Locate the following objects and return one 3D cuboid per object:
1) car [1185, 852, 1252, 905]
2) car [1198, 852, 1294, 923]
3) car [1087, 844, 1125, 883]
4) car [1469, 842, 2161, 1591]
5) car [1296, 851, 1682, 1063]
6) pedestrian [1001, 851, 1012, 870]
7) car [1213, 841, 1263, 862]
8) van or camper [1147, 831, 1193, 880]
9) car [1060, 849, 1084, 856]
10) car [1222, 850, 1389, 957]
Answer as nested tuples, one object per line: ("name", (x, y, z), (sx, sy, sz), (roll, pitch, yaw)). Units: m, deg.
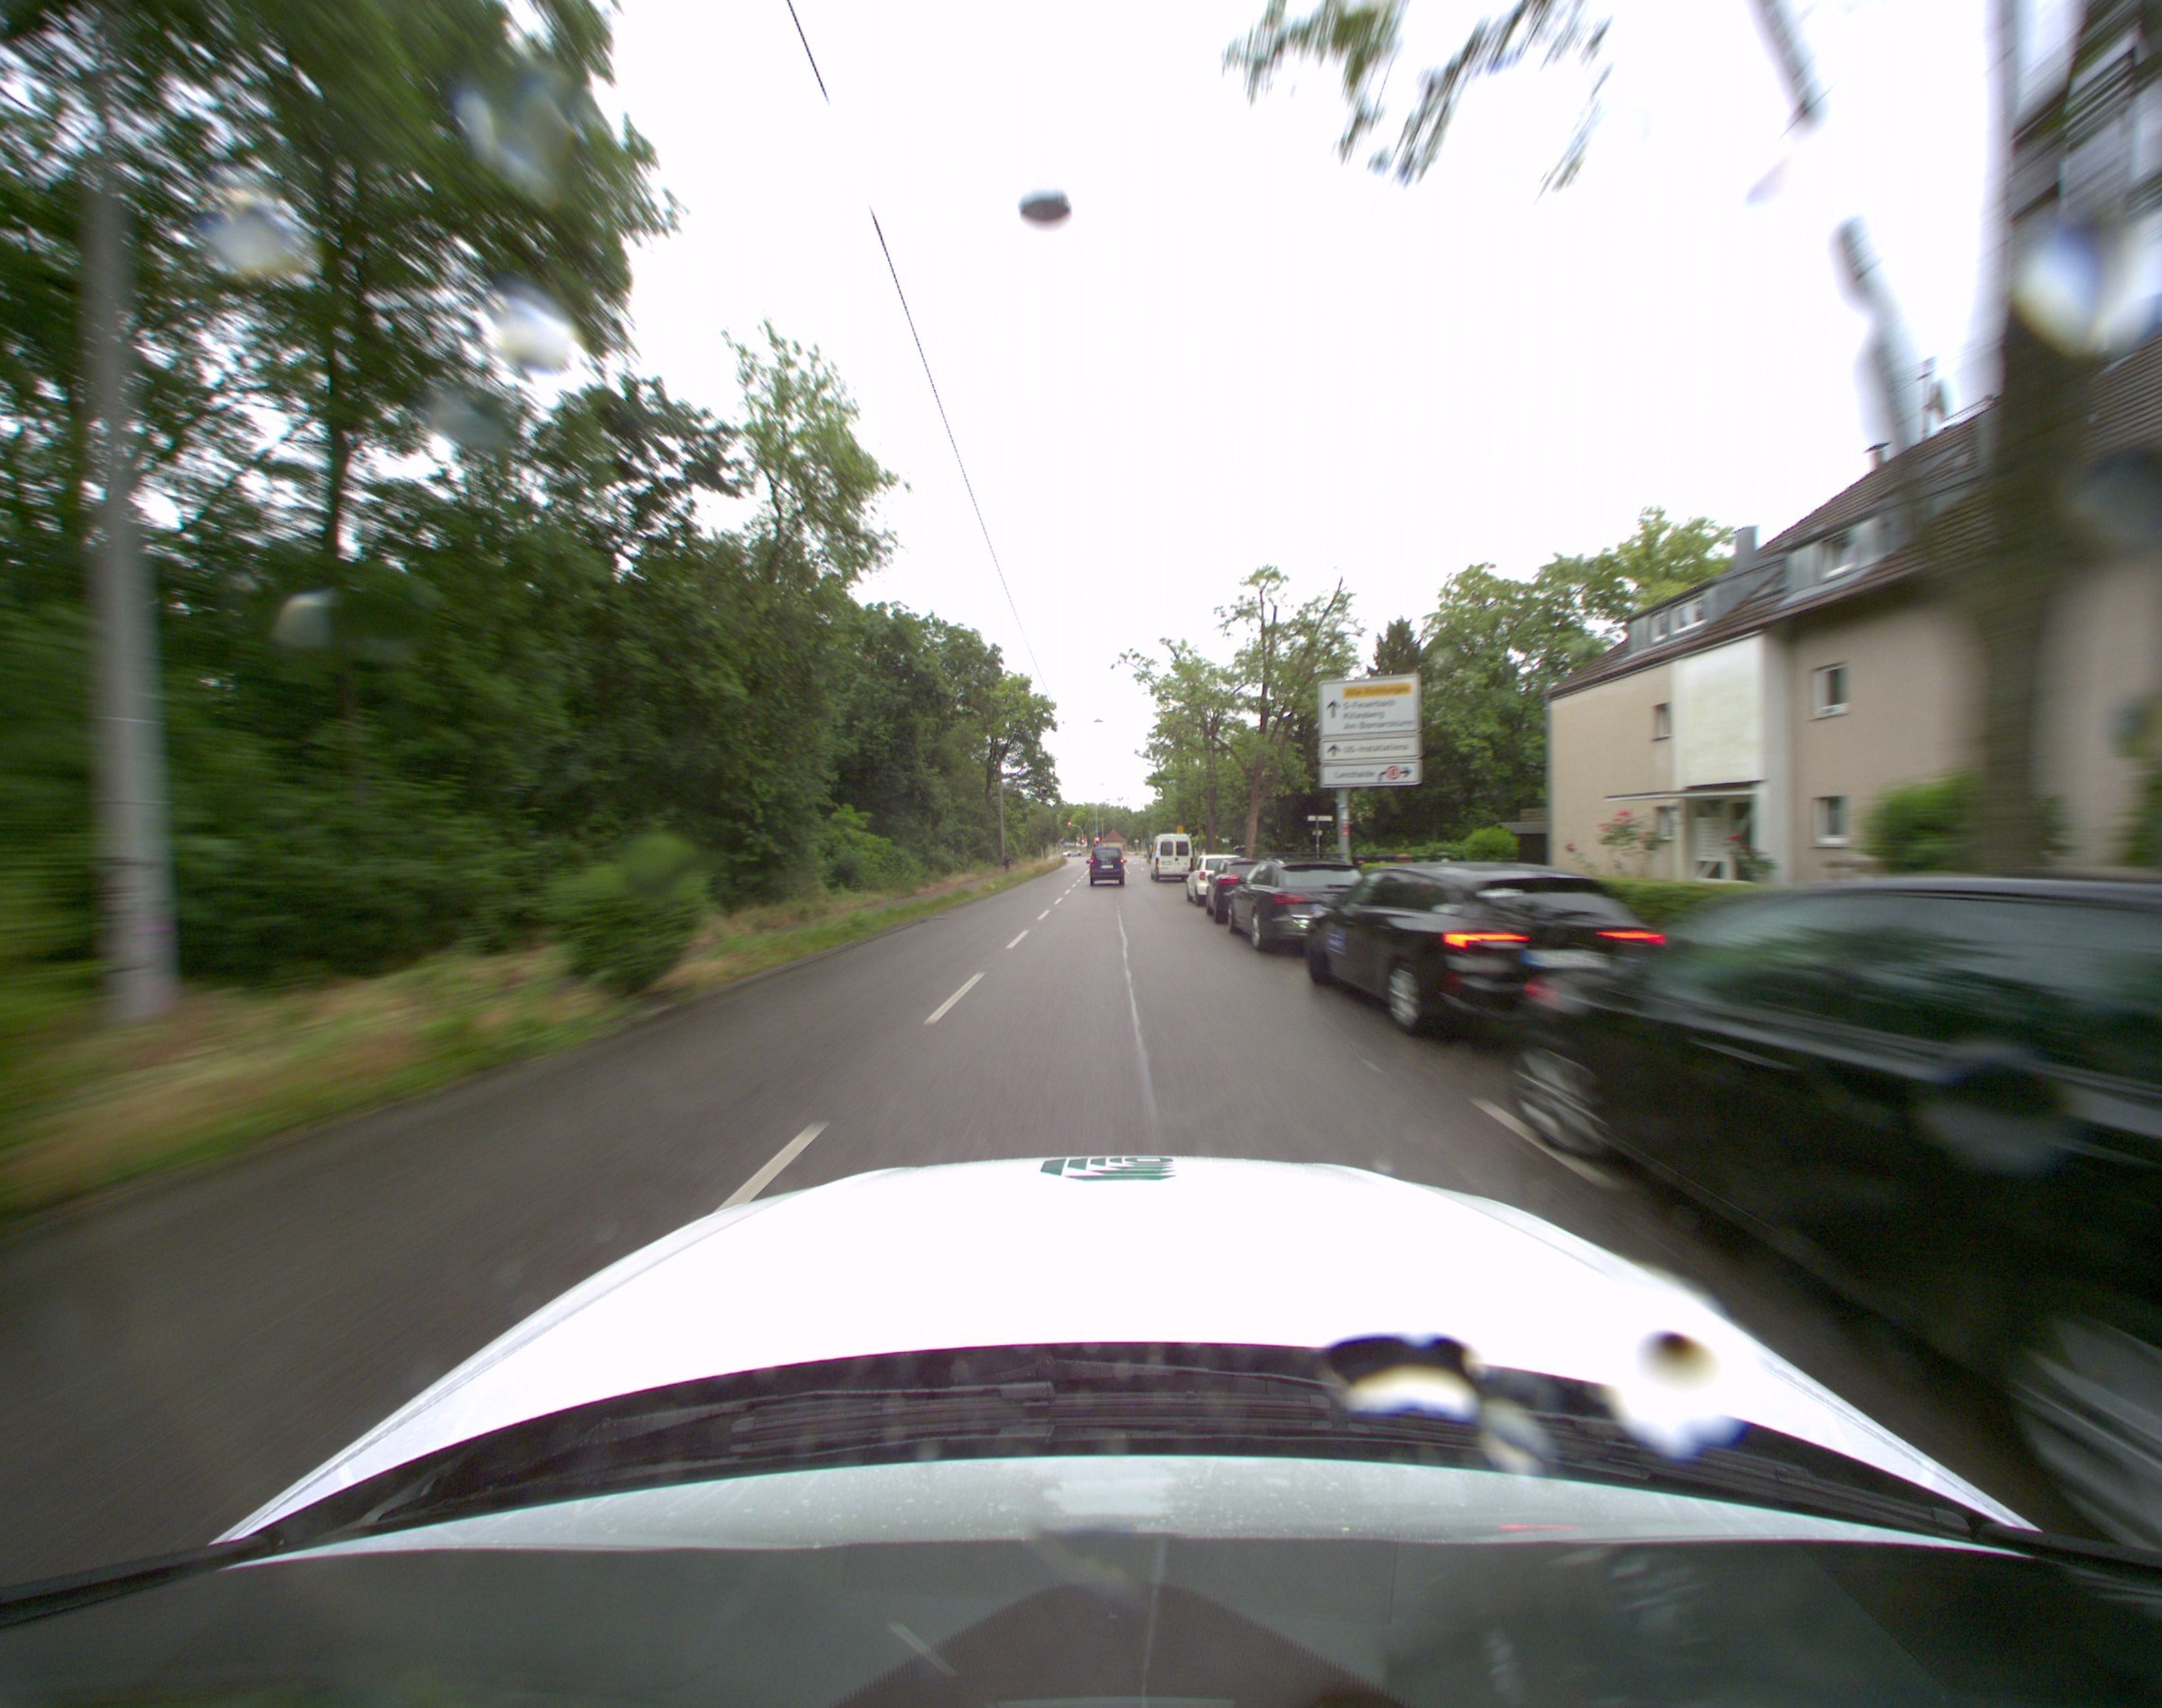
("car", (4.149, 0.699, 25.083), (1.565, 1.472, 3.767), (0, 0, 2))
("car", (3.790, 0.712, 19.269), (1.611, 1.470, 3.946), (0, 0, 2))
("car", (1.225, 0.428, 39.305), (1.725, 1.786, 4.002), (0, 1, 2))
("car", (3.019, 0.679, 2.849), (1.720, 1.410, 4.006), (0, 0, 5))
("car", (3.448, 0.715, 7.921), (1.612, 1.468, 4.411), (0, 0, 1))
("pedestrian", (-6.360, 0.522, 69.712), (0.778, 1.607, 0.732), (-2, 0, 1))
("car", (13.946, -0.199, 72.095), (4.275, 1.817, 1.881), (0, 0, 12))
("van or camper", (4.822, 0.043, 44.669), (2.029, 2.479, 5.641), (1, 0, 2))
("car", (-1.874, -0.317, 169.911), (4.364, 1.311, 1.985), (-4, 1, -23))
("car", (3.642, 0.690, 14.112), (1.746, 1.526, 4.826), (0, 0, 2))
